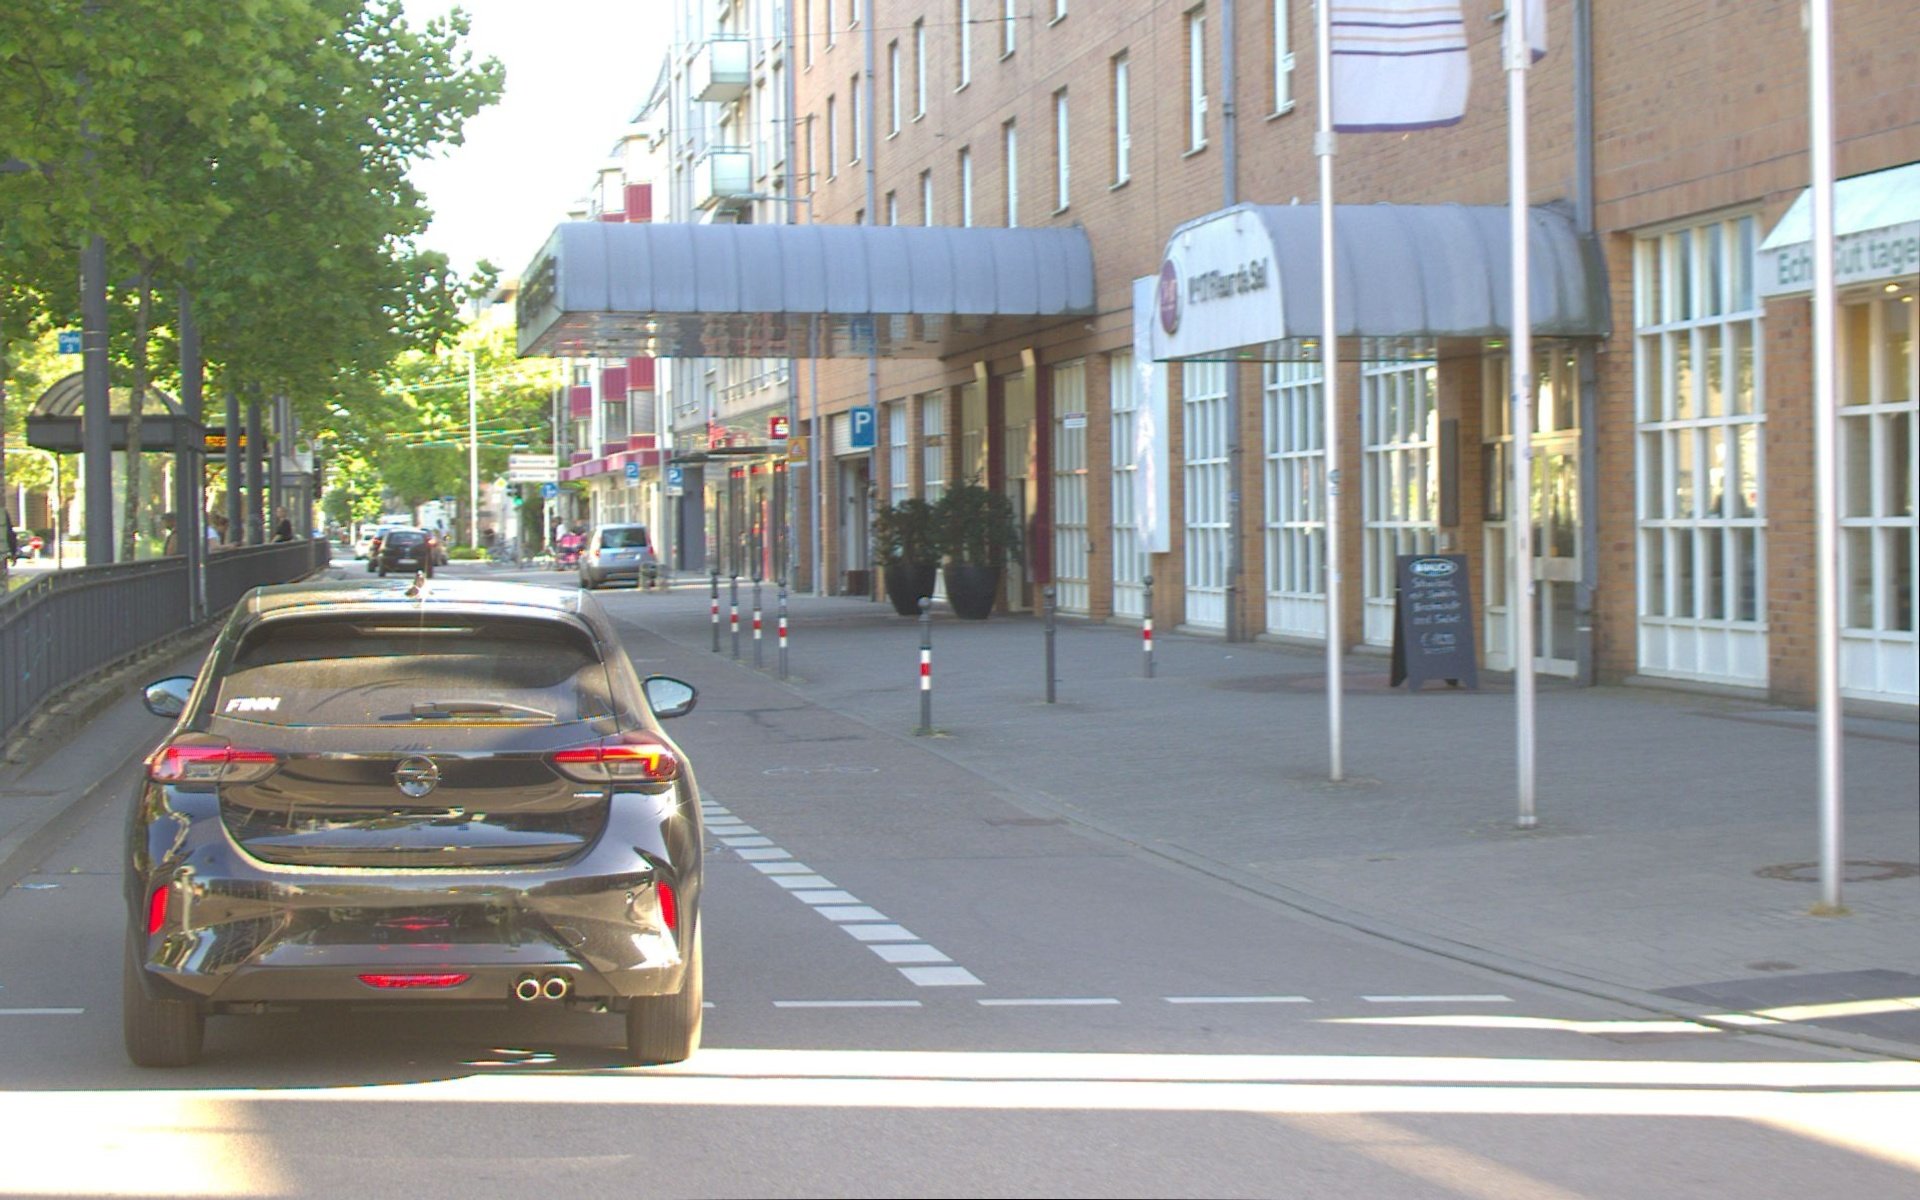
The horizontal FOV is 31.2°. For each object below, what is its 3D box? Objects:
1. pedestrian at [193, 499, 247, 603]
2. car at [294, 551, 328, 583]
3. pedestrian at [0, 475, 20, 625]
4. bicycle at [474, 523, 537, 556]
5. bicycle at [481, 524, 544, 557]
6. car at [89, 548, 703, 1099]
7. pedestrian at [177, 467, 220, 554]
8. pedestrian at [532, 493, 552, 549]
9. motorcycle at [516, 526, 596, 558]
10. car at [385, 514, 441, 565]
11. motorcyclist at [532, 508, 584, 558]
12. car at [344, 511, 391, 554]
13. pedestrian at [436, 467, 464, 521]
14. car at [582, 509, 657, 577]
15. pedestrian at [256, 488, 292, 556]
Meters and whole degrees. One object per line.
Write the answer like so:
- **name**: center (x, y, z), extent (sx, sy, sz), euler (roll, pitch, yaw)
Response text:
- **pedestrian**: center (-10.358, -0.691, 48.083), extent (0.722, 1.440, 0.627), euler (0, 1, -13)
- **car**: center (-32.596, -1.667, 172.776), extent (1.613, 1.496, 3.692), euler (1, 1, -10)
- **pedestrian**: center (-10.920, -0.554, 38.619), extent (0.604, 1.674, 0.486), euler (-1, 1, -9)
- **bicycle**: center (-17.210, -2.289, 130.307), extent (2.355, 1.229, 0.684), euler (1, 1, -7)
- **bicycle**: center (-17.190, -2.273, 132.086), extent (2.355, 1.229, 0.684), euler (1, 1, -7)
- **car**: center (-1.854, 0.582, 11.321), extent (1.671, 1.496, 3.691), euler (0, 1, -10)
- **pedestrian**: center (-12.109, -1.418, 54.662), extent (0.604, 1.360, 0.486), euler (-1, 1, -9)
- **pedestrian**: center (-21.468, -4.048, 176.620), extent (0.916, 2.861, 1.151), euler (1, 1, -10)
- **motorcycle**: center (-14.000, -2.013, 119.146), extent (1.305, 1.055, 3.097), euler (0, 2, -39)
- **car**: center (-16.607, -1.848, 104.264), extent (1.613, 1.496, 3.692), euler (1, 1, -10)
- **motorcyclist**: center (-13.923, -2.318, 119.063), extent (1.305, 1.692, 1.237), euler (0, 2, -39)
- **car**: center (-21.242, -2.445, 123.270), extent (1.613, 1.496, 3.692), euler (1, 1, -10)
- **pedestrian**: center (-27.193, -5.671, 183.292), extent (1.147, 2.862, 0.919), euler (-1, 1, -42)
- **car**: center (-8.494, -1.442, 85.636), extent (1.671, 1.646, 3.692), euler (1, 1, -8)
- **pedestrian**: center (-14.579, -1.657, 73.043), extent (0.722, 1.440, 0.627), euler (0, 1, -13)
